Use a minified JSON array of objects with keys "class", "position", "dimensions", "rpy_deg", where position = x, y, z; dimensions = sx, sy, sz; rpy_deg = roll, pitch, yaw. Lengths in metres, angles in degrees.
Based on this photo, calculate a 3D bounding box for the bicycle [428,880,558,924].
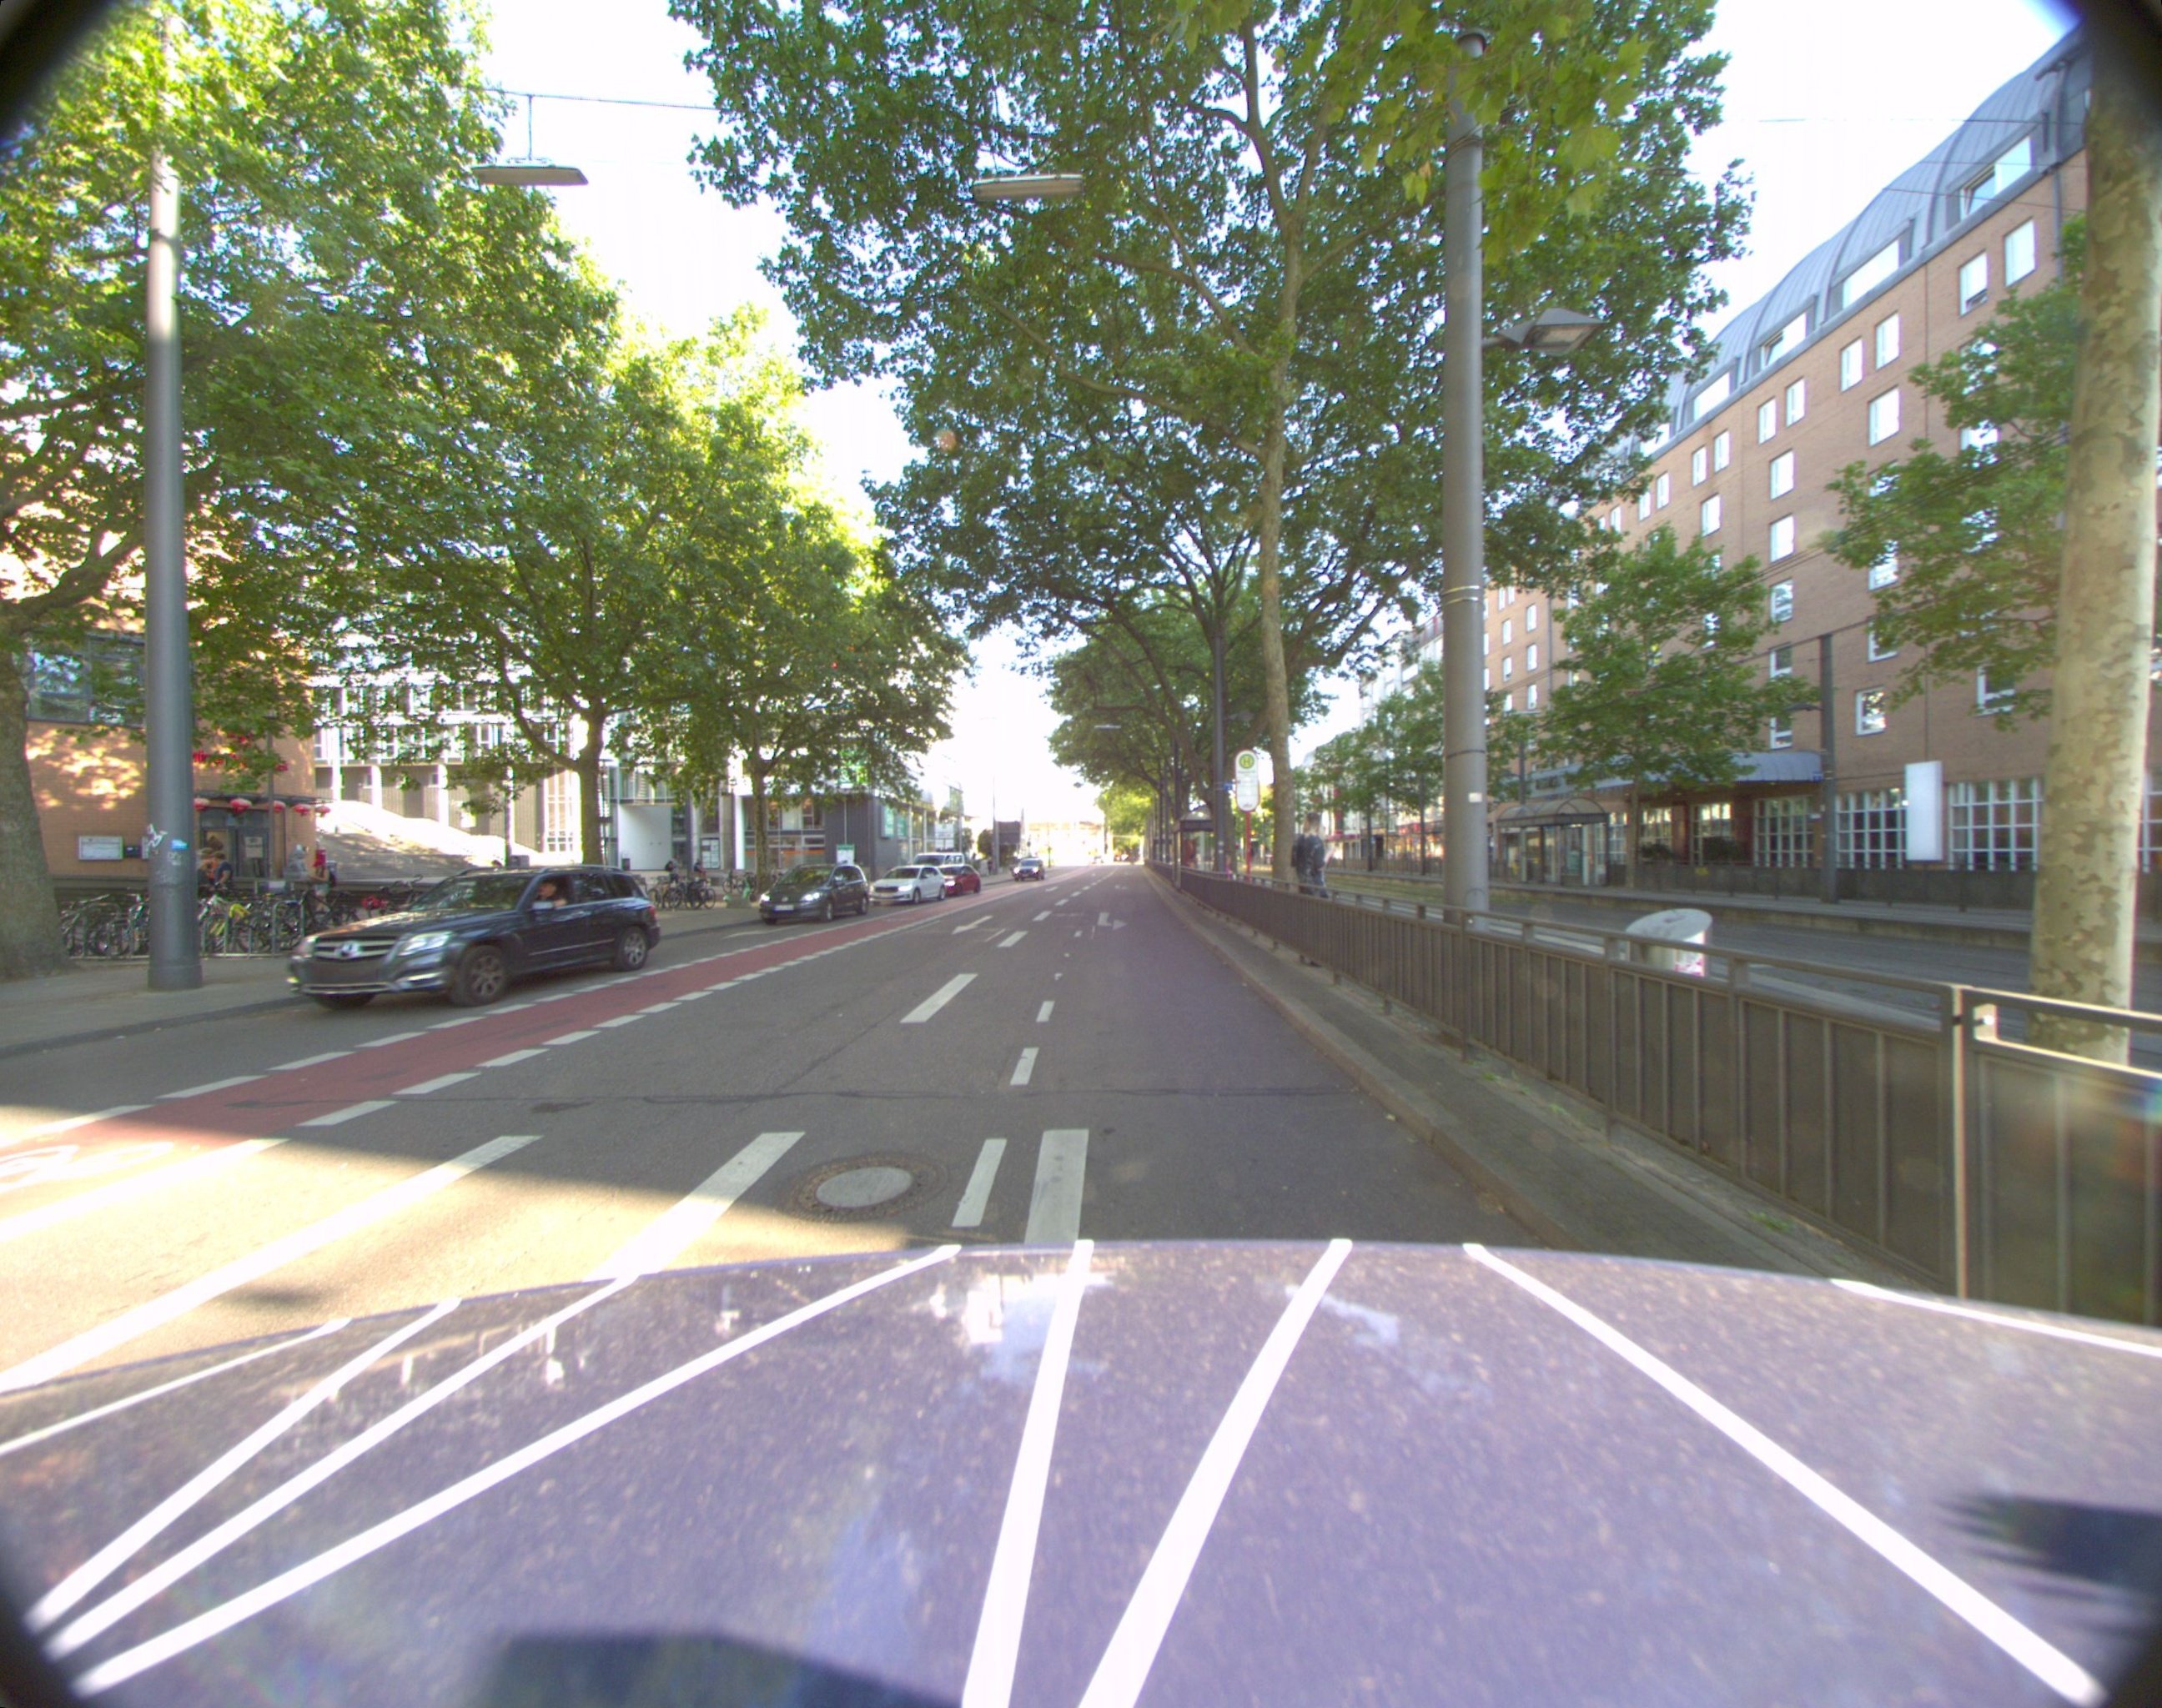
[{"class":"bicycle","position":[-16.256,1.292,21.023],"dimensions":[3.328,1.077,1.150],"rpy_deg":[0,1,18]}]

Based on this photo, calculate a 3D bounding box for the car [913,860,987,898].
[{"class":"car","position":[-5.949,1.108,34.923],"dimensions":[1.834,1.481,4.199],"rpy_deg":[-3,0,12]}]

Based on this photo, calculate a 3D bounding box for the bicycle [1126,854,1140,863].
[{"class":"bicycle","position":[8.462,0.737,124.371],"dimensions":[0.948,1.460,2.711],"rpy_deg":[0,0,36]}]

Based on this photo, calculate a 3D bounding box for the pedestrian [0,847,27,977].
[{"class":"pedestrian","position":[-17.081,0.895,11.457],"dimensions":[0.934,2.002,1.091],"rpy_deg":[-1,1,-25]}]

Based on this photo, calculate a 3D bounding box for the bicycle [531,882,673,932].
[{"class":"bicycle","position":[-12.725,1.376,20.370],"dimensions":[0.975,1.020,3.208],"rpy_deg":[-2,1,23]}]

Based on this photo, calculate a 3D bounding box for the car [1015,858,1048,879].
[{"class":"car","position":[-3.758,1.097,58.375],"dimensions":[1.784,1.481,4.197],"rpy_deg":[-3,0,6]}]

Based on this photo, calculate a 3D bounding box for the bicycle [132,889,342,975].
[{"class":"bicycle","position":[-14.058,1.241,12.805],"dimensions":[0.751,1.155,2.398],"rpy_deg":[-2,1,2]}]

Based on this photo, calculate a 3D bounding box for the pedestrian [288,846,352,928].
[{"class":"pedestrian","position":[-21.257,0.906,21.239],"dimensions":[0.842,2.220,0.905],"rpy_deg":[-2,1,22]}]

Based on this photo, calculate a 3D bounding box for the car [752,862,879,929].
[{"class":"car","position":[-7.419,1.094,21.733],"dimensions":[1.709,1.626,4.392],"rpy_deg":[-2,0,5]}]

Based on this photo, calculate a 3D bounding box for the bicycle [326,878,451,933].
[{"class":"bicycle","position":[-17.847,1.282,19.709],"dimensions":[0.699,1.193,2.700],"rpy_deg":[-2,1,1]}]

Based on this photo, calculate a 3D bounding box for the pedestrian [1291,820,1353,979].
[{"class":"pedestrian","position":[2.852,0.527,9.025],"dimensions":[0.543,1.823,0.524],"rpy_deg":[-2,1,4]}]

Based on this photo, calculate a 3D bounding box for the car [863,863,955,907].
[{"class":"car","position":[-6.582,1.159,29.531],"dimensions":[1.834,1.481,4.199],"rpy_deg":[-2,0,12]}]

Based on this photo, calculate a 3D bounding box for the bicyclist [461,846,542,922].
[{"class":"bicyclist","position":[-15.944,0.803,20.928],"dimensions":[1.296,2.002,1.158],"rpy_deg":[-1,1,17]}]

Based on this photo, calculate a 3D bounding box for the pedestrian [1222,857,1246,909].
[{"class":"pedestrian","position":[3.941,0.740,19.560],"dimensions":[0.542,1.310,0.524],"rpy_deg":[-2,1,12]}]

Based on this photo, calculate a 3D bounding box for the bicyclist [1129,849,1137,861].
[{"class":"bicyclist","position":[8.530,0.179,124.351],"dimensions":[0.957,2.002,0.940],"rpy_deg":[-1,1,38]}]

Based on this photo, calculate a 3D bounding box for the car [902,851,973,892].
[{"class":"car","position":[-7.482,0.872,40.347],"dimensions":[1.932,1.953,5.921],"rpy_deg":[-2,0,7]}]

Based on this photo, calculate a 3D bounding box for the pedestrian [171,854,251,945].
[{"class":"pedestrian","position":[-22.581,1.144,19.726],"dimensions":[1.048,2.235,1.221],"rpy_deg":[-1,1,38]}]

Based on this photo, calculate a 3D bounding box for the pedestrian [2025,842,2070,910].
[{"class":"pedestrian","position":[24.937,0.551,19.608],"dimensions":[0.479,1.725,0.545],"rpy_deg":[0,1,8]}]

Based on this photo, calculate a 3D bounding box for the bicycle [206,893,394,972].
[{"class":"bicycle","position":[-13.115,1.273,12.895],"dimensions":[0.682,1.054,2.337],"rpy_deg":[-1,1,2]}]

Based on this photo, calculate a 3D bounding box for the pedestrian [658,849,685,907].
[{"class":"pedestrian","position":[-19.263,1.113,35.752],"dimensions":[0.981,2.633,0.900],"rpy_deg":[-3,1,-31]}]

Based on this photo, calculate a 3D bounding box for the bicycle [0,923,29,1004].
[{"class":"bicycle","position":[-13.396,1.350,7.989],"dimensions":[0.925,0.943,2.637],"rpy_deg":[-2,1,1]}]

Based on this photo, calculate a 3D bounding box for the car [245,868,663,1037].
[{"class":"car","position":[-7.687,1.065,10.013],"dimensions":[1.768,1.626,4.251],"rpy_deg":[-2,0,3]}]

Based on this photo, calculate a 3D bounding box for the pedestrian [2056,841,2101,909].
[{"class":"pedestrian","position":[25.575,0.523,19.485],"dimensions":[0.443,1.725,0.545],"rpy_deg":[0,1,8]}]

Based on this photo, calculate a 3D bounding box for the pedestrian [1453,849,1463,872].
[{"class":"pedestrian","position":[29.645,0.507,59.781],"dimensions":[0.504,1.725,0.574],"rpy_deg":[-1,1,3]}]

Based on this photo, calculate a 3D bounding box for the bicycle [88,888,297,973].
[{"class":"bicycle","position":[-14.830,1.233,12.817],"dimensions":[0.671,1.155,2.305],"rpy_deg":[-2,1,3]}]

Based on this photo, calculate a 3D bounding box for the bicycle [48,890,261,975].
[{"class":"bicycle","position":[-15.529,1.272,12.870],"dimensions":[0.657,1.155,2.293],"rpy_deg":[-2,1,3]}]
